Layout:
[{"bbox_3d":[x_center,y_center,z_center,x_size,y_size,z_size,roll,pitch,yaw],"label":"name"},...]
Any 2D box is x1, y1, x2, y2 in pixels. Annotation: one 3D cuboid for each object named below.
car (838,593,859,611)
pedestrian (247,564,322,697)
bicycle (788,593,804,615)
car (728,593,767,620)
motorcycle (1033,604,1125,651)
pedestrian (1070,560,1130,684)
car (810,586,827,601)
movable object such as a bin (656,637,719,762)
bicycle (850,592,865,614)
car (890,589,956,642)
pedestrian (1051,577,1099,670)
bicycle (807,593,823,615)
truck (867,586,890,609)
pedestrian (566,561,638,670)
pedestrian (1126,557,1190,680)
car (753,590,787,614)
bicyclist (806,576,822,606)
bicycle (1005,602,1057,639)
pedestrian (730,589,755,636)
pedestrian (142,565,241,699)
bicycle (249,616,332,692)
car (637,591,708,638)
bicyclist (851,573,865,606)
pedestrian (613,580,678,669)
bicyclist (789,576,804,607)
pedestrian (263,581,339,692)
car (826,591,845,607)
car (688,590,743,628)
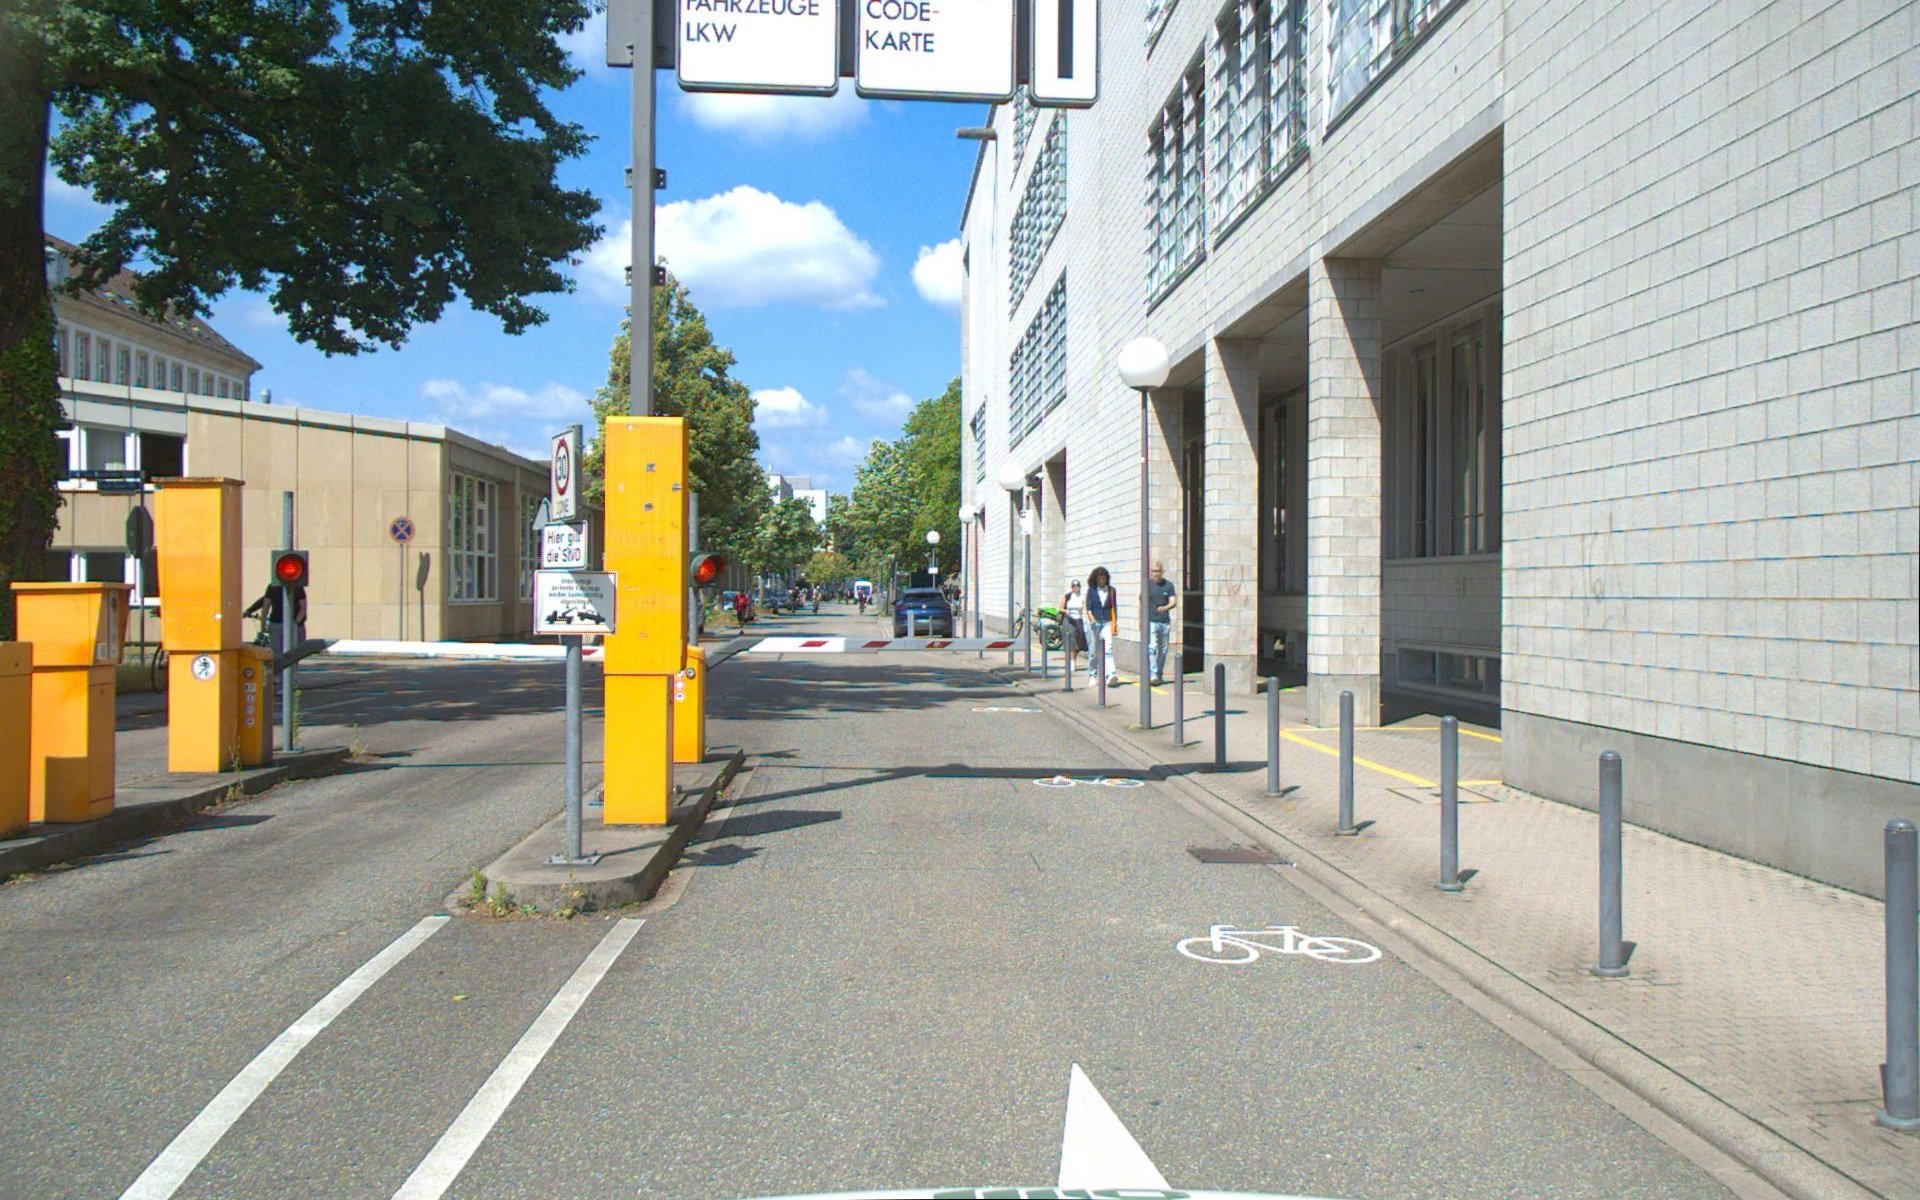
[{"bbox_3d":[-11.555,0.220,171.770,1.953,1.751,3.999,0,-2,-1],"label":"car"},{"bbox_3d":[-9.488,0.411,23.267,0.691,1.841,1.000,0,1,-5],"label":"pedestrian"},{"bbox_3d":[-10.482,0.275,105.819,0.968,1.339,2.959,0,-2,-7],"label":"bicycle"},{"bbox_3d":[-12.305,0.360,96.019,1.954,1.573,4.209,0,0,-3],"label":"car"},{"bbox_3d":[2.812,0.649,39.261,2.080,1.040,0.659,-2,-2,-2],"label":"motorcycle"},{"bbox_3d":[2.099,0.321,24.943,0.681,1.811,1.084,-2,1,-5],"label":"pedestrian"},{"bbox_3d":[-18.183,-0.793,212.775,1.953,1.751,3.999,0,-2,-1],"label":"car"},{"bbox_3d":[-2.070,0.751,12.583,0.407,0.921,0.353,1,0,1],"label":"movable object such as a bin"},{"bbox_3d":[-6.804,0.204,109.168,0.967,1.339,2.961,0,-2,-4],"label":"bicycle"},{"bbox_3d":[-1.203,0.443,51.652,1.954,1.573,4.209,0,0,-3],"label":"car"},{"bbox_3d":[2.103,0.414,30.347,0.726,1.661,0.887,-2,1,-5],"label":"pedestrian"},{"bbox_3d":[-9.304,0.275,106.068,0.968,1.339,2.959,0,-2,-6],"label":"bicycle"},{"bbox_3d":[-7.730,-0.262,156.479,1.954,2.049,3.995,0,-2,-5],"label":"truck"},{"bbox_3d":[-6.607,0.284,30.504,0.997,1.959,0.874,1,-1,-41],"label":"pedestrian"},{"bbox_3d":[2.989,0.267,24.994,0.752,1.811,0.910,-2,1,-5],"label":"pedestrian"},{"bbox_3d":[-12.395,0.120,108.204,1.954,1.573,4.209,0,0,-3],"label":"car"},{"bbox_3d":[-9.353,-0.576,106.122,0.968,1.917,1.035,0,-2,-7],"label":"bicyclist"},{"bbox_3d":[2.095,0.599,48.879,1.511,1.085,0.648,0,0,4],"label":"bicycle"},{"bbox_3d":[-7.903,0.457,60.112,0.877,1.661,0.886,1,-1,-8],"label":"pedestrian"},{"bbox_3d":[-10.812,0.431,23.295,1.035,1.847,0.805,0,1,-5],"label":"pedestrian"},{"bbox_3d":[-10.220,0.799,25.315,0.632,1.067,1.898,0,1,-4],"label":"bicycle"},{"bbox_3d":[-10.067,0.471,58.172,1.954,1.573,4.209,0,0,-3],"label":"car"},{"bbox_3d":[-6.740,-0.690,109.232,0.968,2.169,1.035,0,-2,-4],"label":"bicyclist"},{"bbox_3d":[-5.952,0.458,31.291,0.888,1.661,0.874,1,-1,-41],"label":"pedestrian"},{"bbox_3d":[-10.492,-0.550,106.208,0.968,1.917,1.034,0,-2,-7],"label":"bicyclist"},{"bbox_3d":[-9.780,0.524,24.586,0.838,1.614,0.805,0,1,-5],"label":"pedestrian"},{"bbox_3d":[-14.137,-0.115,187.981,1.953,1.751,3.999,0,-2,-1],"label":"car"},{"bbox_3d":[-10.558,0.362,71.565,1.954,1.573,4.209,0,0,-3],"label":"car"}]
